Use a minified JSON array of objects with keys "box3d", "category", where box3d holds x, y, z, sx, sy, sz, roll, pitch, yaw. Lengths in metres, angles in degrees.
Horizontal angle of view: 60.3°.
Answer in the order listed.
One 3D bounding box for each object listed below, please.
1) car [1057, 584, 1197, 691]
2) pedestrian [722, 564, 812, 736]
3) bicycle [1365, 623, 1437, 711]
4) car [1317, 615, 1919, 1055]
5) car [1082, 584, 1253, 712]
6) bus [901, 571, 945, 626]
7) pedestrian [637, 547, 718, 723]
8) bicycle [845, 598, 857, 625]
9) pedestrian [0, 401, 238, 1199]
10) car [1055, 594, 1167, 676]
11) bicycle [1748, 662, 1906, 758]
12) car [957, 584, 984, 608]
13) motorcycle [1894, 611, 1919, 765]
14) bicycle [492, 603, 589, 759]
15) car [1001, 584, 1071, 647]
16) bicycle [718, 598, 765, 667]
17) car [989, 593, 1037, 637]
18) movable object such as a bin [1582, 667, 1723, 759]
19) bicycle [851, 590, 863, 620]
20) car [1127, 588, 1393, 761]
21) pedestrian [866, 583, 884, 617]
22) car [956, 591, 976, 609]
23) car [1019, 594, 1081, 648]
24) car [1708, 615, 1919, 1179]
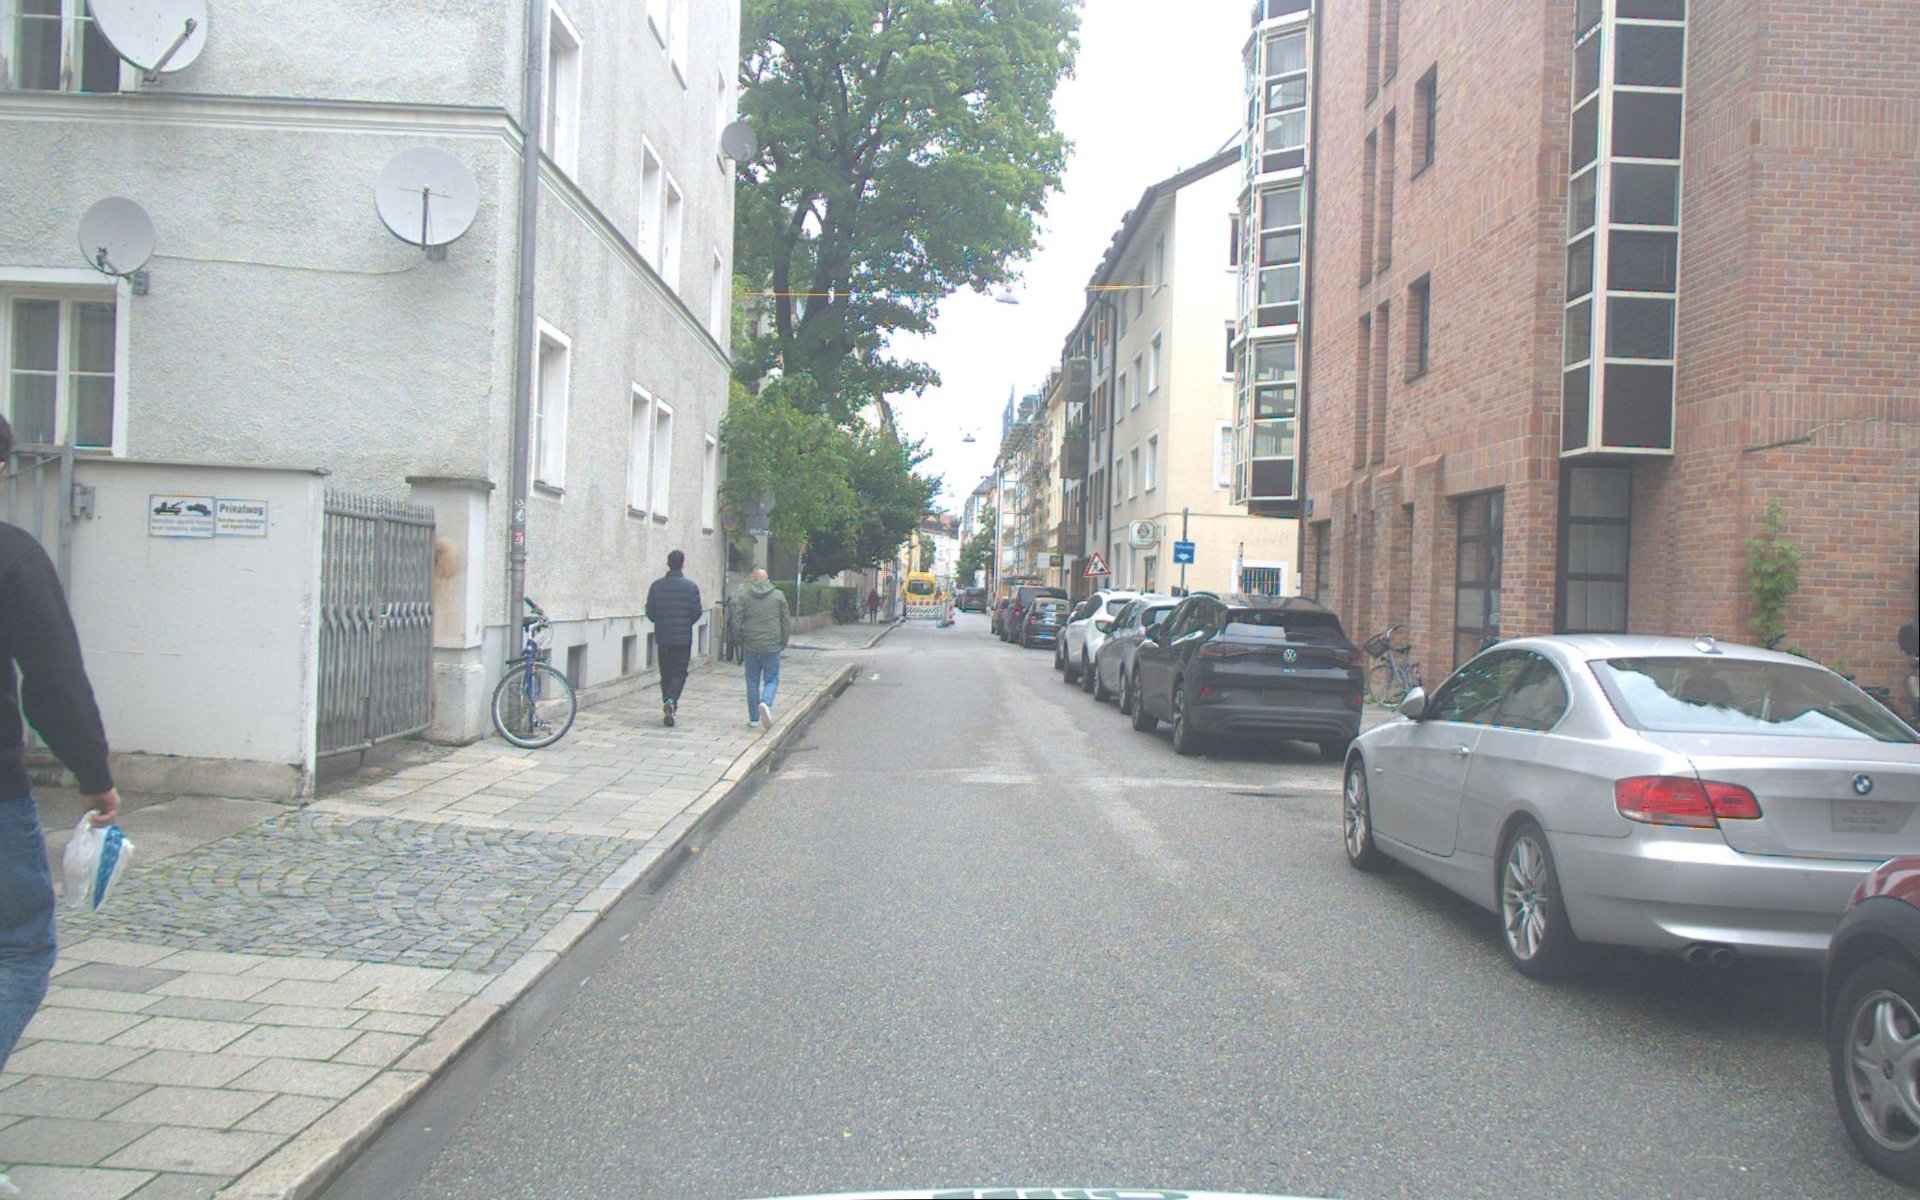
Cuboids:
[{"box3d":[2.762,0.577,28.211,1.714,1.658,4.194,1,0,-3],"category":"car"},{"box3d":[-1.983,0.505,17.080,0.738,1.688,0.906,3,-1,-1],"category":"pedestrian"},{"box3d":[5.901,0.875,22.193,0.548,1.098,1.471,2,0,0],"category":"bicycle"},{"box3d":[3.230,0.859,8.091,1.799,1.442,4.599,2,0,-2],"category":"car"},{"box3d":[2.869,0.635,23.646,1.687,1.664,3.878,1,0,-4],"category":"car"},{"box3d":[-2.222,-0.078,99.923,2.540,3.156,6.305,1,0,-1],"category":"bus"},{"box3d":[-2.903,0.355,17.061,0.600,1.743,0.823,3,-1,-1],"category":"pedestrian"},{"box3d":[-4.484,0.459,68.049,0.437,1.092,2.466,1,0,-2],"category":"bicycle"},{"box3d":[-2.177,0.495,3.647,0.704,1.796,0.838,3,-1,-1],"category":"pedestrian"},{"box3d":[2.969,0.656,33.227,1.709,1.470,3.998,2,0,-2],"category":"car"},{"box3d":[8.246,1.044,15.755,1.289,0.874,0.413,1,-1,-1],"category":"bicycle"},{"box3d":[0.824,-0.339,132.195,1.766,1.741,3.825,5,0,-3],"category":"car"},{"box3d":[8.732,0.784,14.295,0.528,1.368,1.942,0,0,10],"category":"motorcycle"},{"box3d":[-3.579,0.649,14.037,0.632,1.239,1.655,1,0,-20],"category":"bicycle"},{"box3d":[2.455,0.476,54.410,1.766,1.851,3.998,5,0,-3],"category":"car"},{"box3d":[-3.801,0.545,28.644,0.465,1.130,1.751,2,0,-18],"category":"bicycle"},{"box3d":[2.105,0.583,66.286,1.603,1.541,3.828,5,0,-1],"category":"car"},{"box3d":[7.011,1.132,16.782,1.064,0.846,0.844,1,0,0],"category":"movable object such as a bin"},{"box3d":[-5.032,0.228,80.843,0.503,1.442,1.933,1,0,-1],"category":"bicycle"},{"box3d":[3.079,0.696,17.936,1.848,1.582,4.389,2,0,-3],"category":"car"},{"box3d":[-3.809,-0.006,73.869,0.740,1.517,0.831,1,0,-1],"category":"pedestrian"},{"box3d":[0.574,-0.038,160.461,1.764,1.642,3.999,2,0,-1],"category":"car"},{"box3d":[2.684,0.594,50.054,1.592,1.513,3.808,2,0,-1],"category":"car"},{"box3d":[3.467,0.837,3.539,1.710,1.487,4.148,2,0,-2],"category":"car"}]
